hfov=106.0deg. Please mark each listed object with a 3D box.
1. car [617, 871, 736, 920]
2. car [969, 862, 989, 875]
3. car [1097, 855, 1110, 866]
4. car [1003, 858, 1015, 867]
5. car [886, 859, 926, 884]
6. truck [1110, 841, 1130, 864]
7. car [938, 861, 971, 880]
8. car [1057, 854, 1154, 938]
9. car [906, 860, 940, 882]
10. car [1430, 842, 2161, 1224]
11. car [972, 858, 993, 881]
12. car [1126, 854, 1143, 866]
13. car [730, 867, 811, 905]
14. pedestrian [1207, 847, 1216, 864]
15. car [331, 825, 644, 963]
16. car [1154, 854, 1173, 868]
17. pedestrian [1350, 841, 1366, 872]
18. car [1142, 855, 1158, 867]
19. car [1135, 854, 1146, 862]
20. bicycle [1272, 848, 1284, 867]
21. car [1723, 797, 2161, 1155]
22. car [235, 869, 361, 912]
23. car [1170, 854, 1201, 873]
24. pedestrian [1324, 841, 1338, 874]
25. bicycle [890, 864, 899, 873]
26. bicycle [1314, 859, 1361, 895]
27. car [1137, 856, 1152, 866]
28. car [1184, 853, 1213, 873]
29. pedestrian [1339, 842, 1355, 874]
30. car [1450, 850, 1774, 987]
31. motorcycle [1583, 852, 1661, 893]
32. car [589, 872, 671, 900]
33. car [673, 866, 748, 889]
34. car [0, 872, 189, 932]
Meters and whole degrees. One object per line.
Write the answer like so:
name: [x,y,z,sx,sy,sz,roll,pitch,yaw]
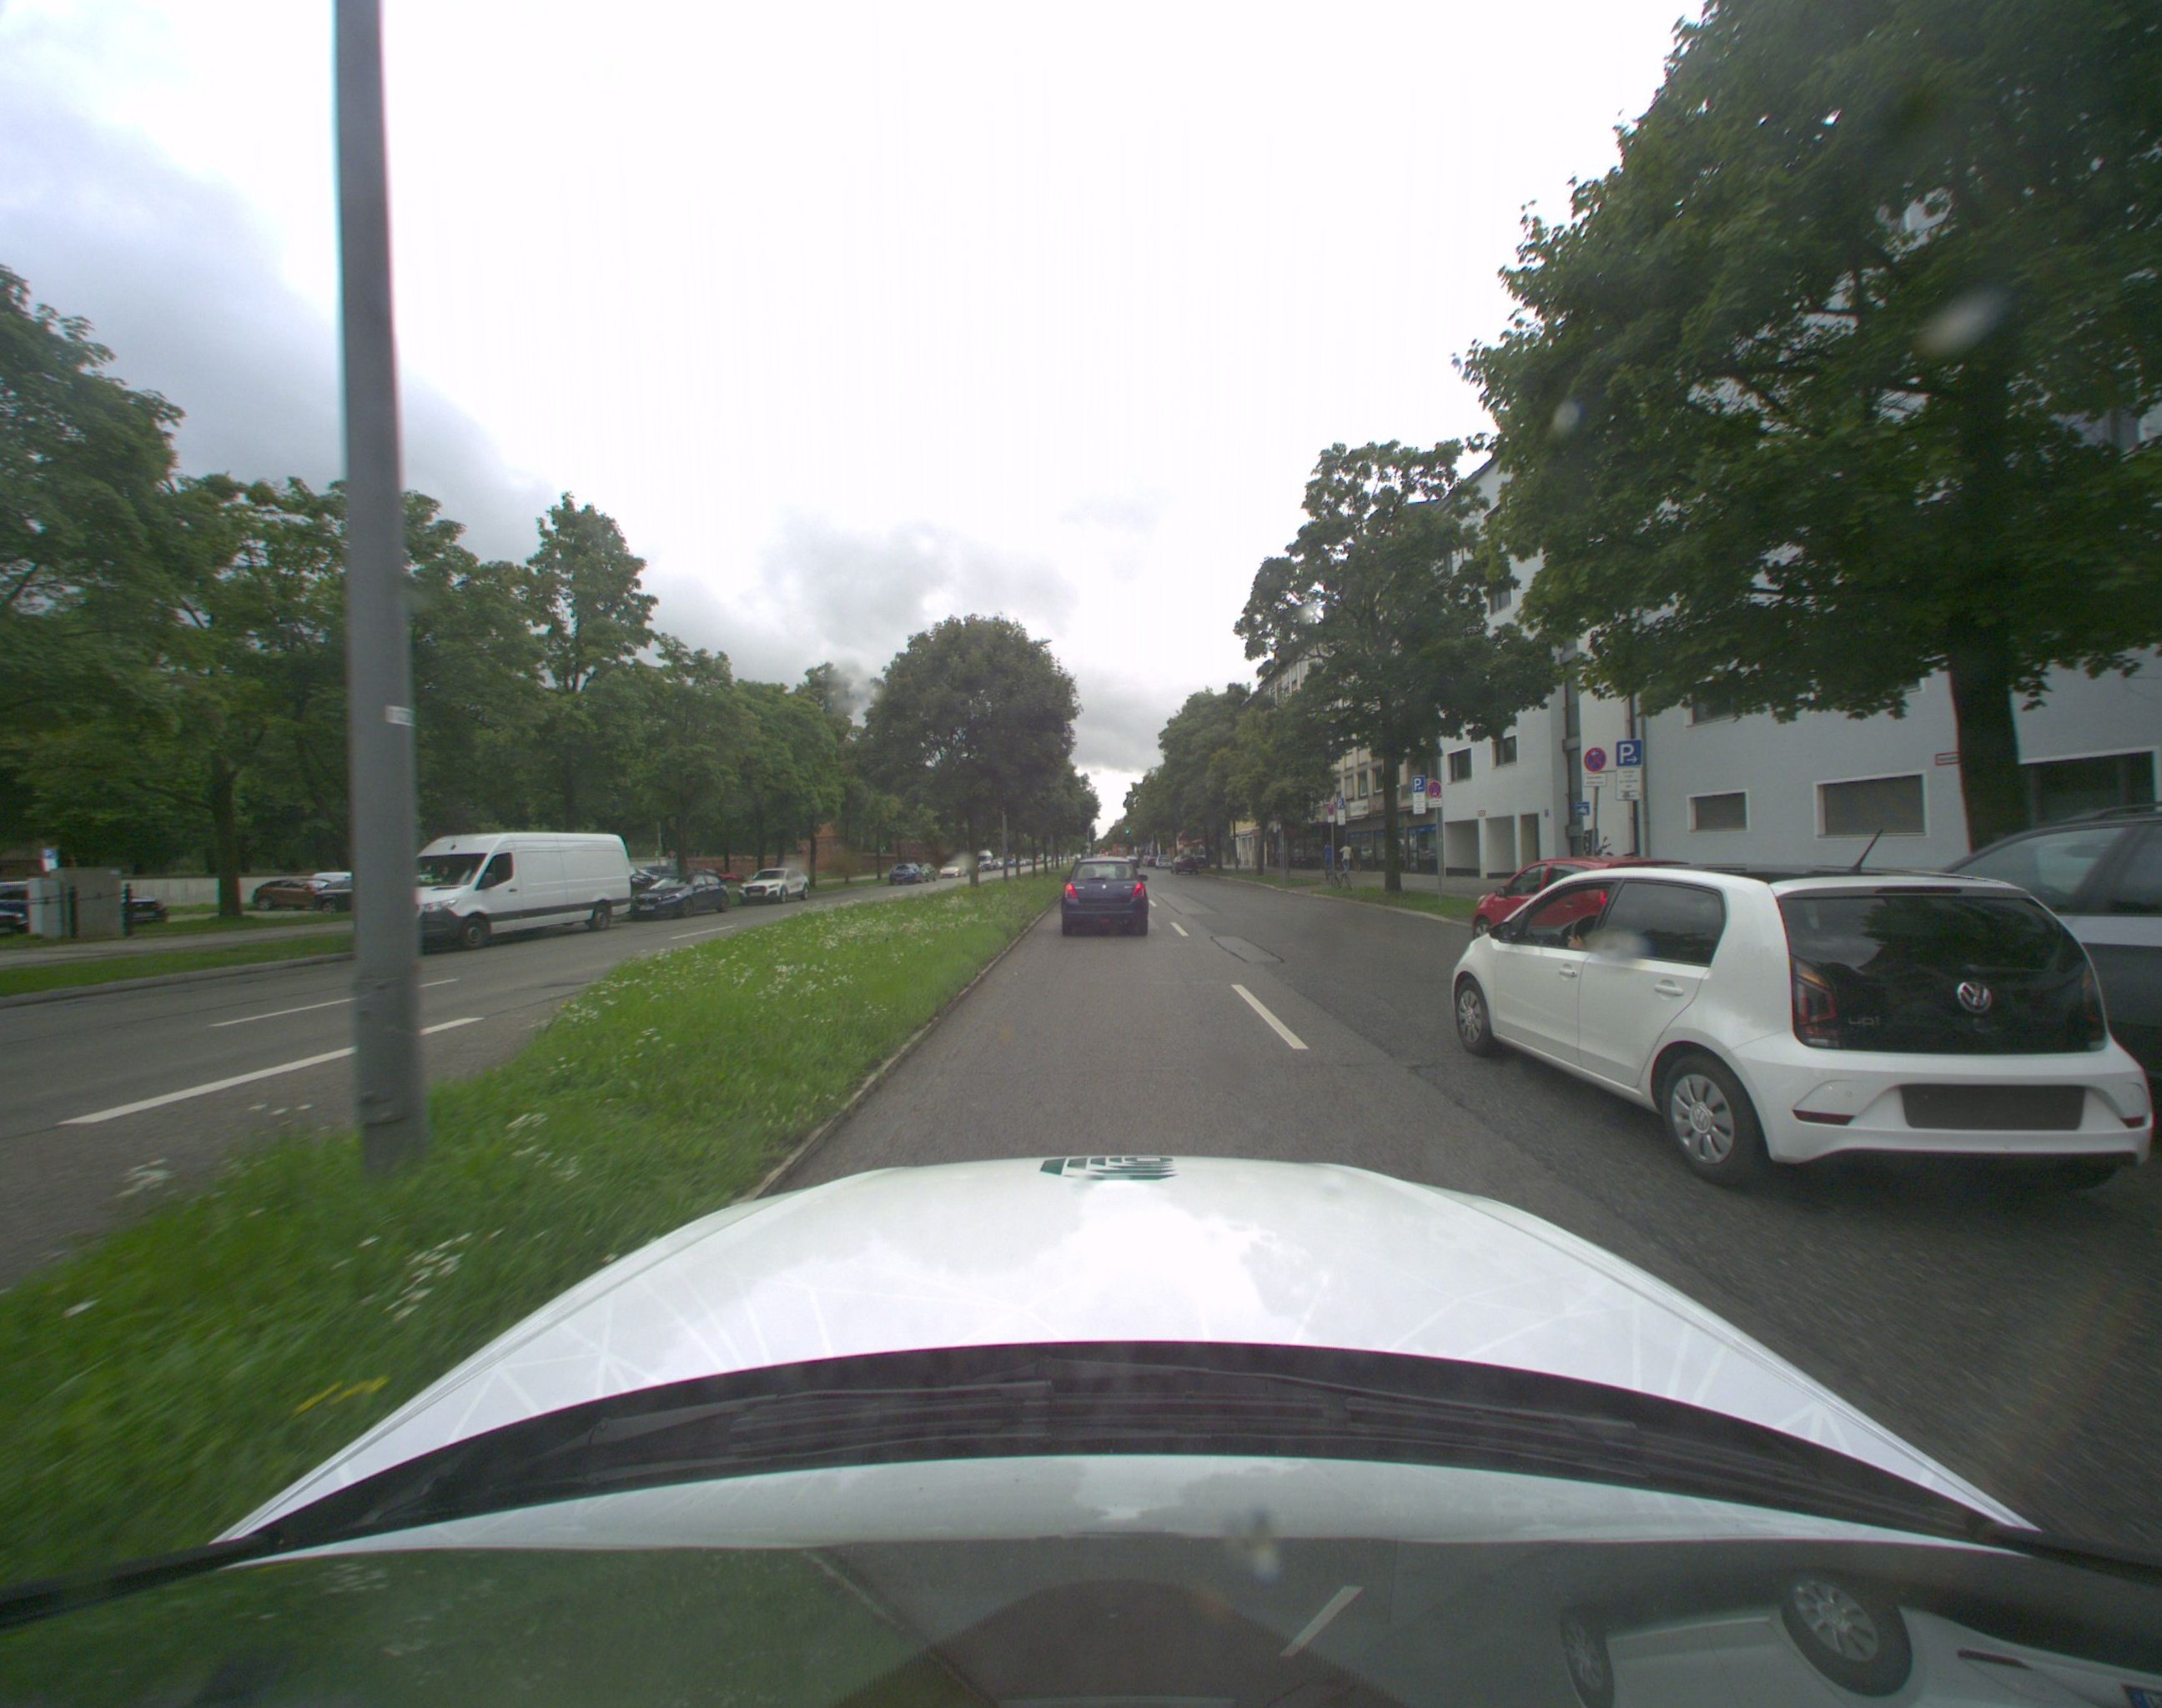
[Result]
car: [-13.525,1.331,27.543,1.851,1.491,4.251,-1,-1,0]
car: [-12.396,1.739,99.463,1.807,1.536,4.441,-1,0,1]
car: [3.072,0.838,110.783,1.712,1.500,4.301,-1,0,1]
car: [-12.695,1.446,143.536,1.700,1.534,4.001,-2,0,1]
car: [-12.469,1.208,58.229,1.881,1.537,4.313,-4,0,0]
truck: [6.409,-0.277,135.329,3.029,3.557,13.682,-1,0,2]
car: [-11.822,1.556,76.442,1.751,1.537,4.325,-4,0,9]
car: [0.532,0.774,17.026,1.746,1.505,4.002,-1,0,2]
car: [-12.354,1.321,64.017,1.632,1.537,4.315,-4,0,1]
car: [3.701,0.715,4.977,1.681,1.490,3.435,-1,0,1]
car: [-13.540,2.092,111.791,2.179,2.954,6.189,-1,0,-1]
car: [6.309,0.696,97.040,1.815,1.477,4.692,0,0,1]
car: [-13.309,1.353,35.181,1.851,1.491,4.141,-1,-1,0]
pedestrian: [14.785,0.196,92.488,0.790,1.855,0.776,-3,0,-2]
car: [-13.793,0.780,19.869,2.132,2.643,7.108,-3,0,2]
car: [8.971,0.789,89.012,1.649,1.452,3.998,-2,0,-1]
pedestrian: [14.840,0.125,43.629,0.539,1.640,0.725,-2,0,1]
car: [8.924,0.925,105.673,1.648,1.452,4.706,-2,0,-1]
car: [12.577,0.843,171.651,1.986,1.530,4.001,-2,0,1]
bicycle: [15.738,0.258,65.175,0.578,1.463,1.689,-2,0,2]
car: [6.186,0.577,4.490,1.822,1.746,4.510,-1,0,2]
car: [-40.092,1.835,41.798,4.490,2.034,2.000,-1,0,0]
car: [8.221,0.730,64.367,1.986,1.452,4.002,-2,0,2]
pedestrian: [13.275,0.196,43.325,0.498,1.733,0.733,-2,0,1]
bicycle: [-20.895,1.636,91.230,0.653,0.936,1.619,-1,0,-1]
bicycle: [9.135,0.801,29.057,0.455,1.256,2.137,-1,0,-17]
car: [9.001,0.998,115.936,1.649,1.452,3.998,-2,0,-1]
car: [10.346,0.773,71.965,1.986,1.643,4.334,-2,0,2]
pedestrian: [14.142,0.205,43.340,0.547,1.629,0.641,-3,0,1]
car: [6.685,0.704,10.842,1.518,1.441,3.995,-2,0,-3]
motorcycle: [15.122,0.494,22.834,0.758,1.086,2.200,-2,0,2]
car: [-27.069,1.922,48.948,3.958,1.505,2.008,-2,0,14]
car: [-26.084,1.645,57.384,4.397,1.392,1.760,-2,0,1]
car: [-27.034,1.271,22.055,3.967,1.438,1.818,-2,0,6]
